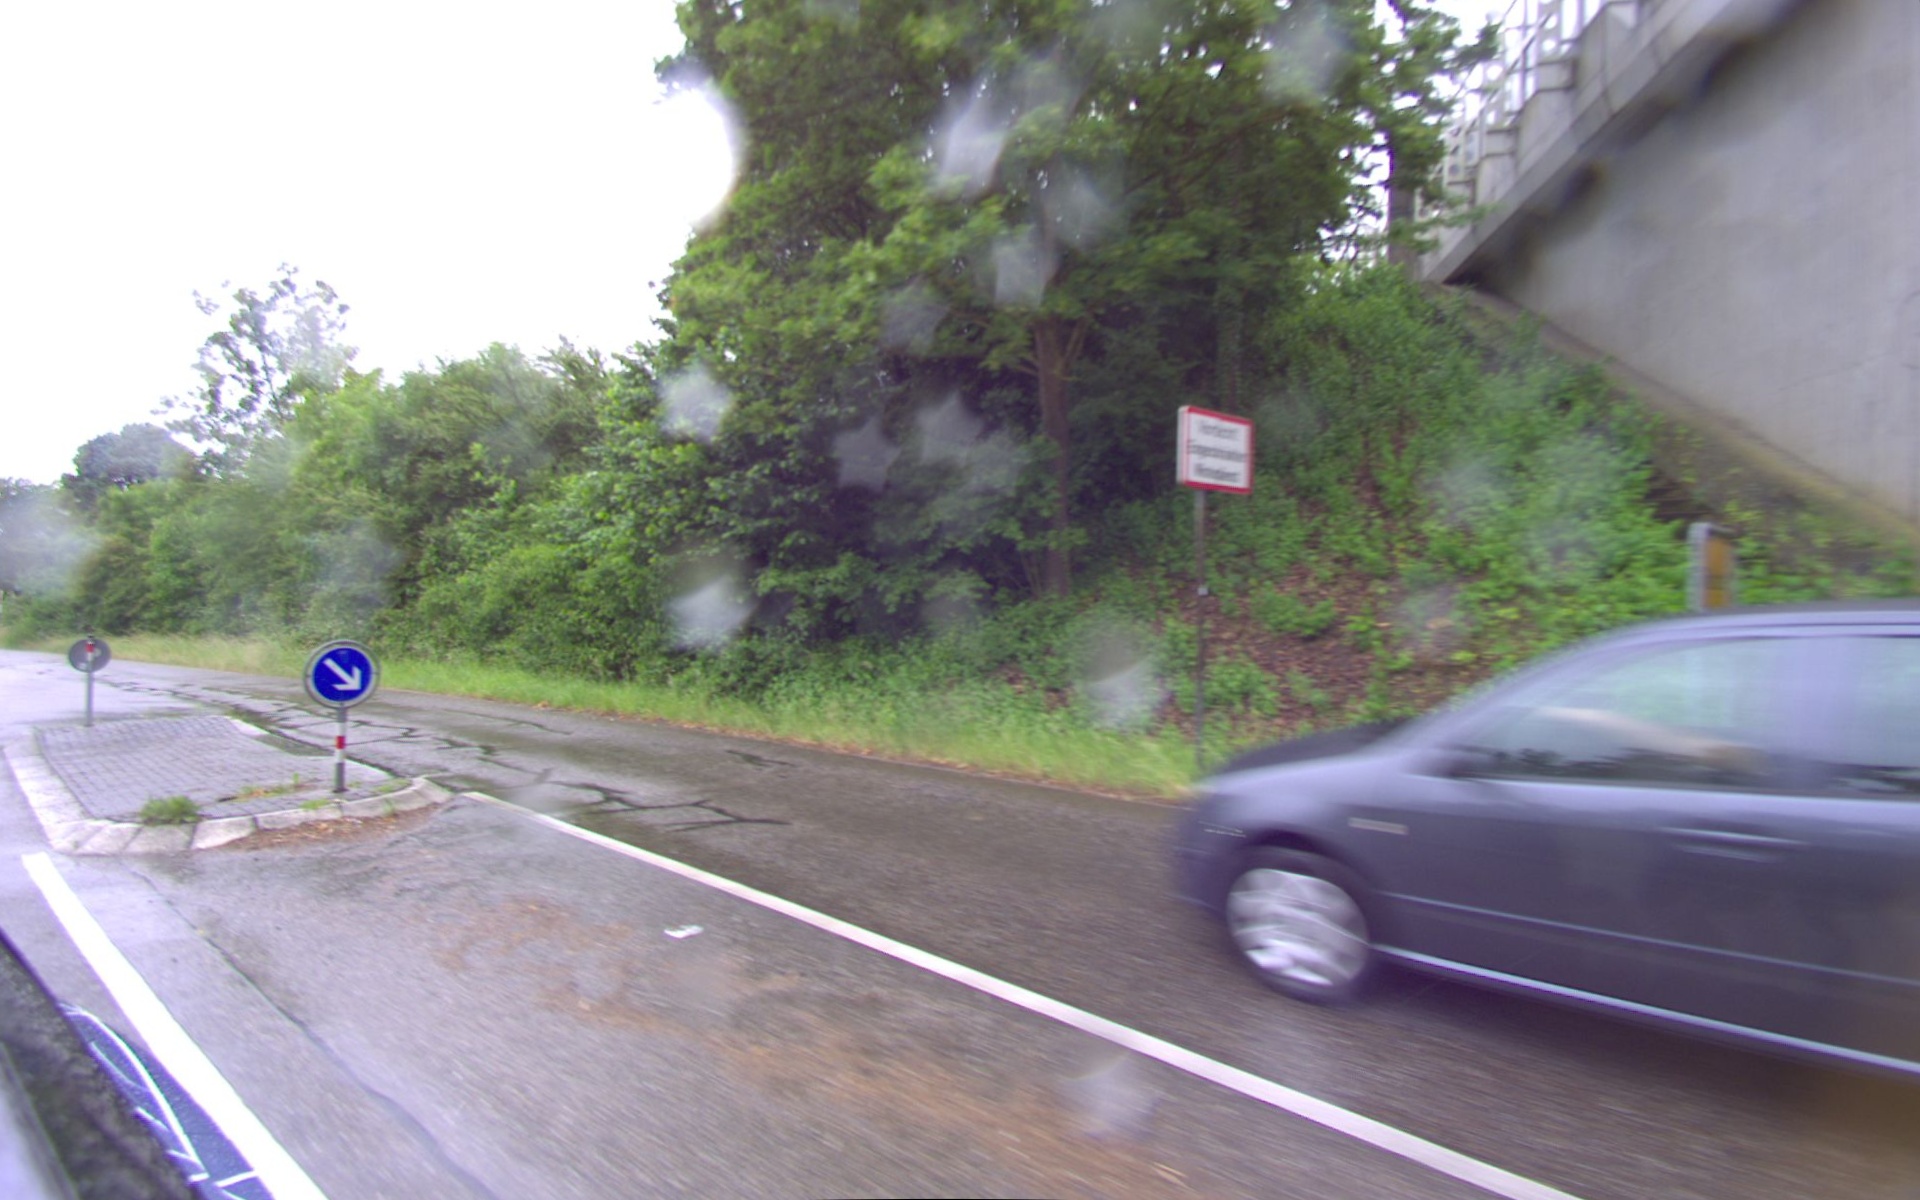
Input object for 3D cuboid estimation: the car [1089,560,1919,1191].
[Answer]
[{"bbox_3d":[2.551,0.651,3.318,1.671,1.498,4.076,-1,0,-44],"label":"car"}]
